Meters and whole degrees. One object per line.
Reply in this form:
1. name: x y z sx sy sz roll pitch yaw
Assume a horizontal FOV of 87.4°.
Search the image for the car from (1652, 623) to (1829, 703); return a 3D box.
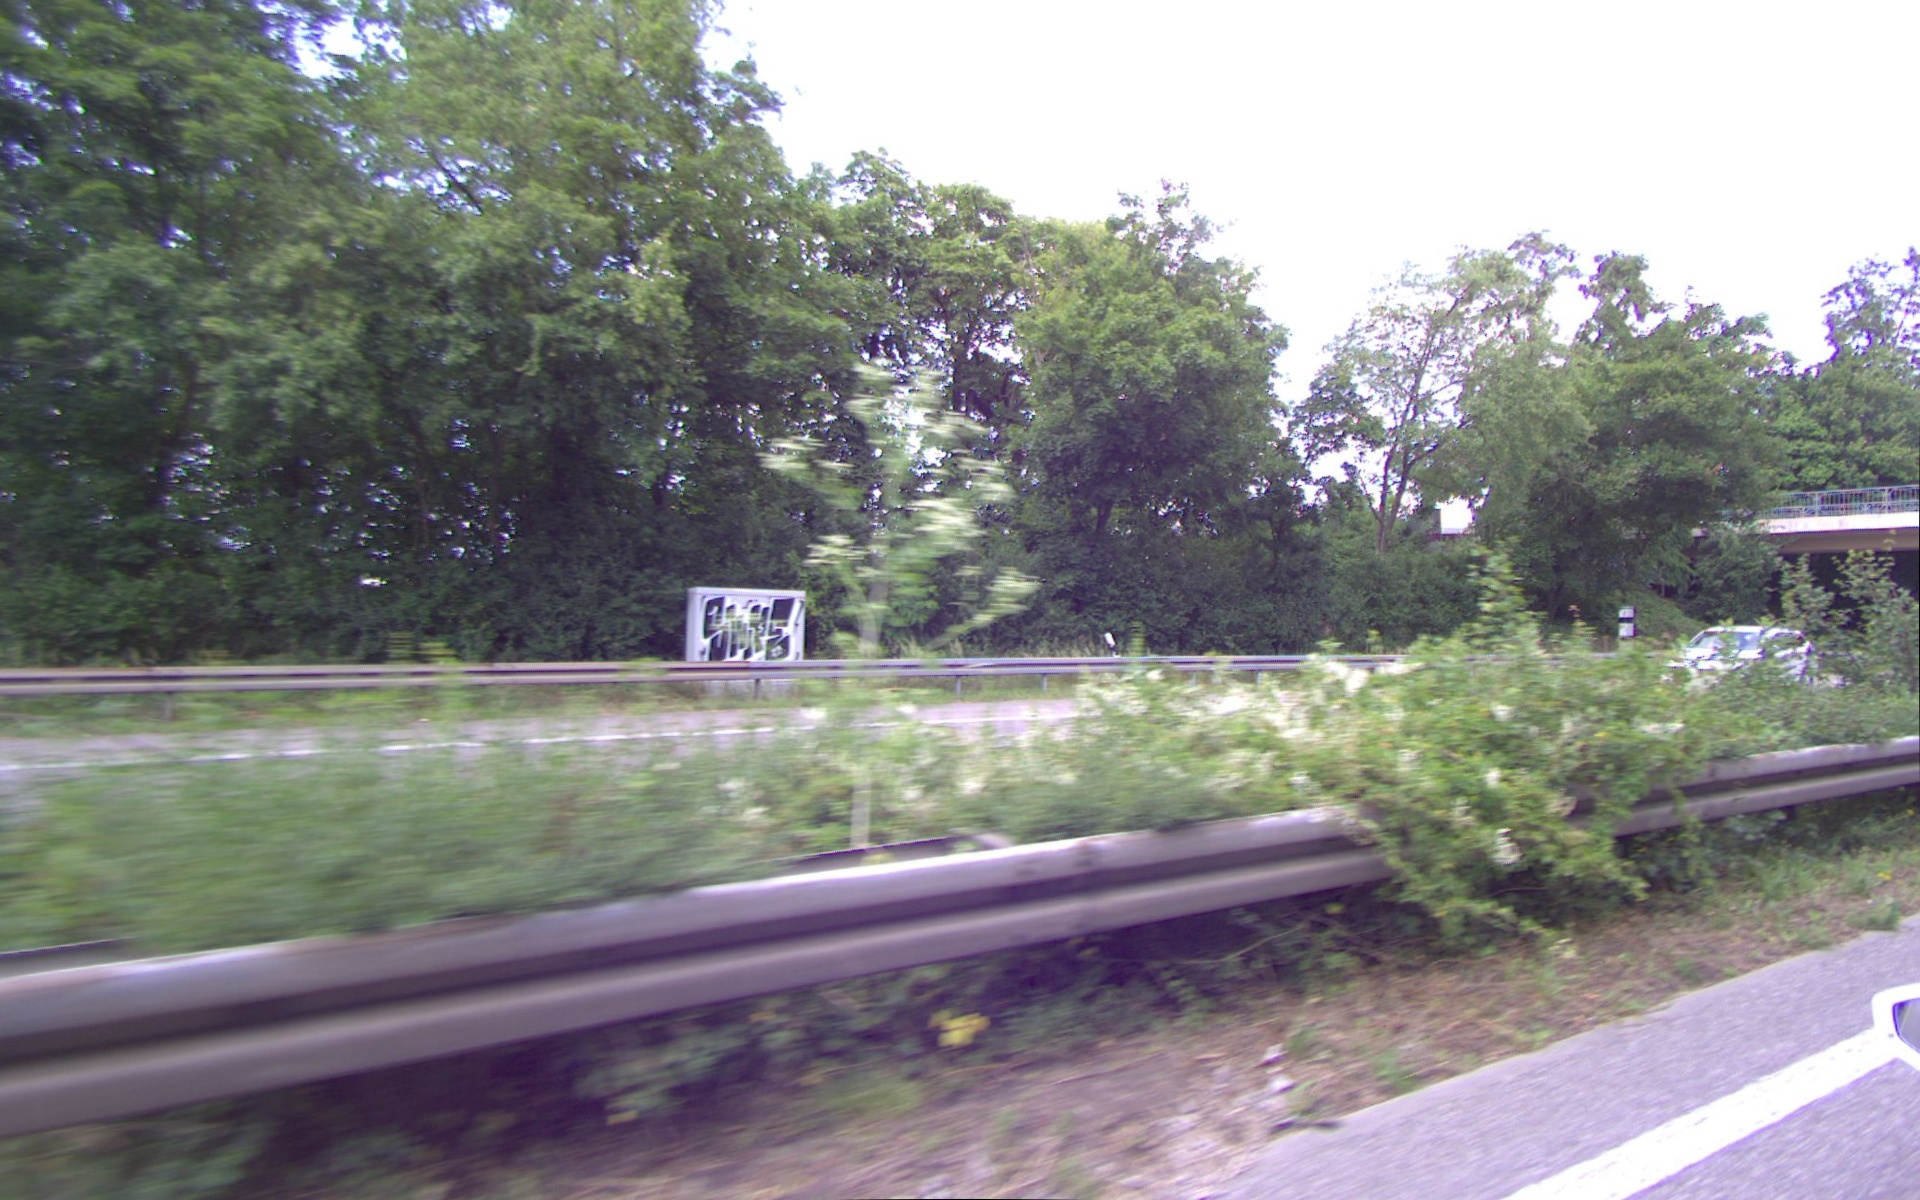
1. car: 18.961 1.468 24.343 4.824 1.762 1.777 1 -1 -31
